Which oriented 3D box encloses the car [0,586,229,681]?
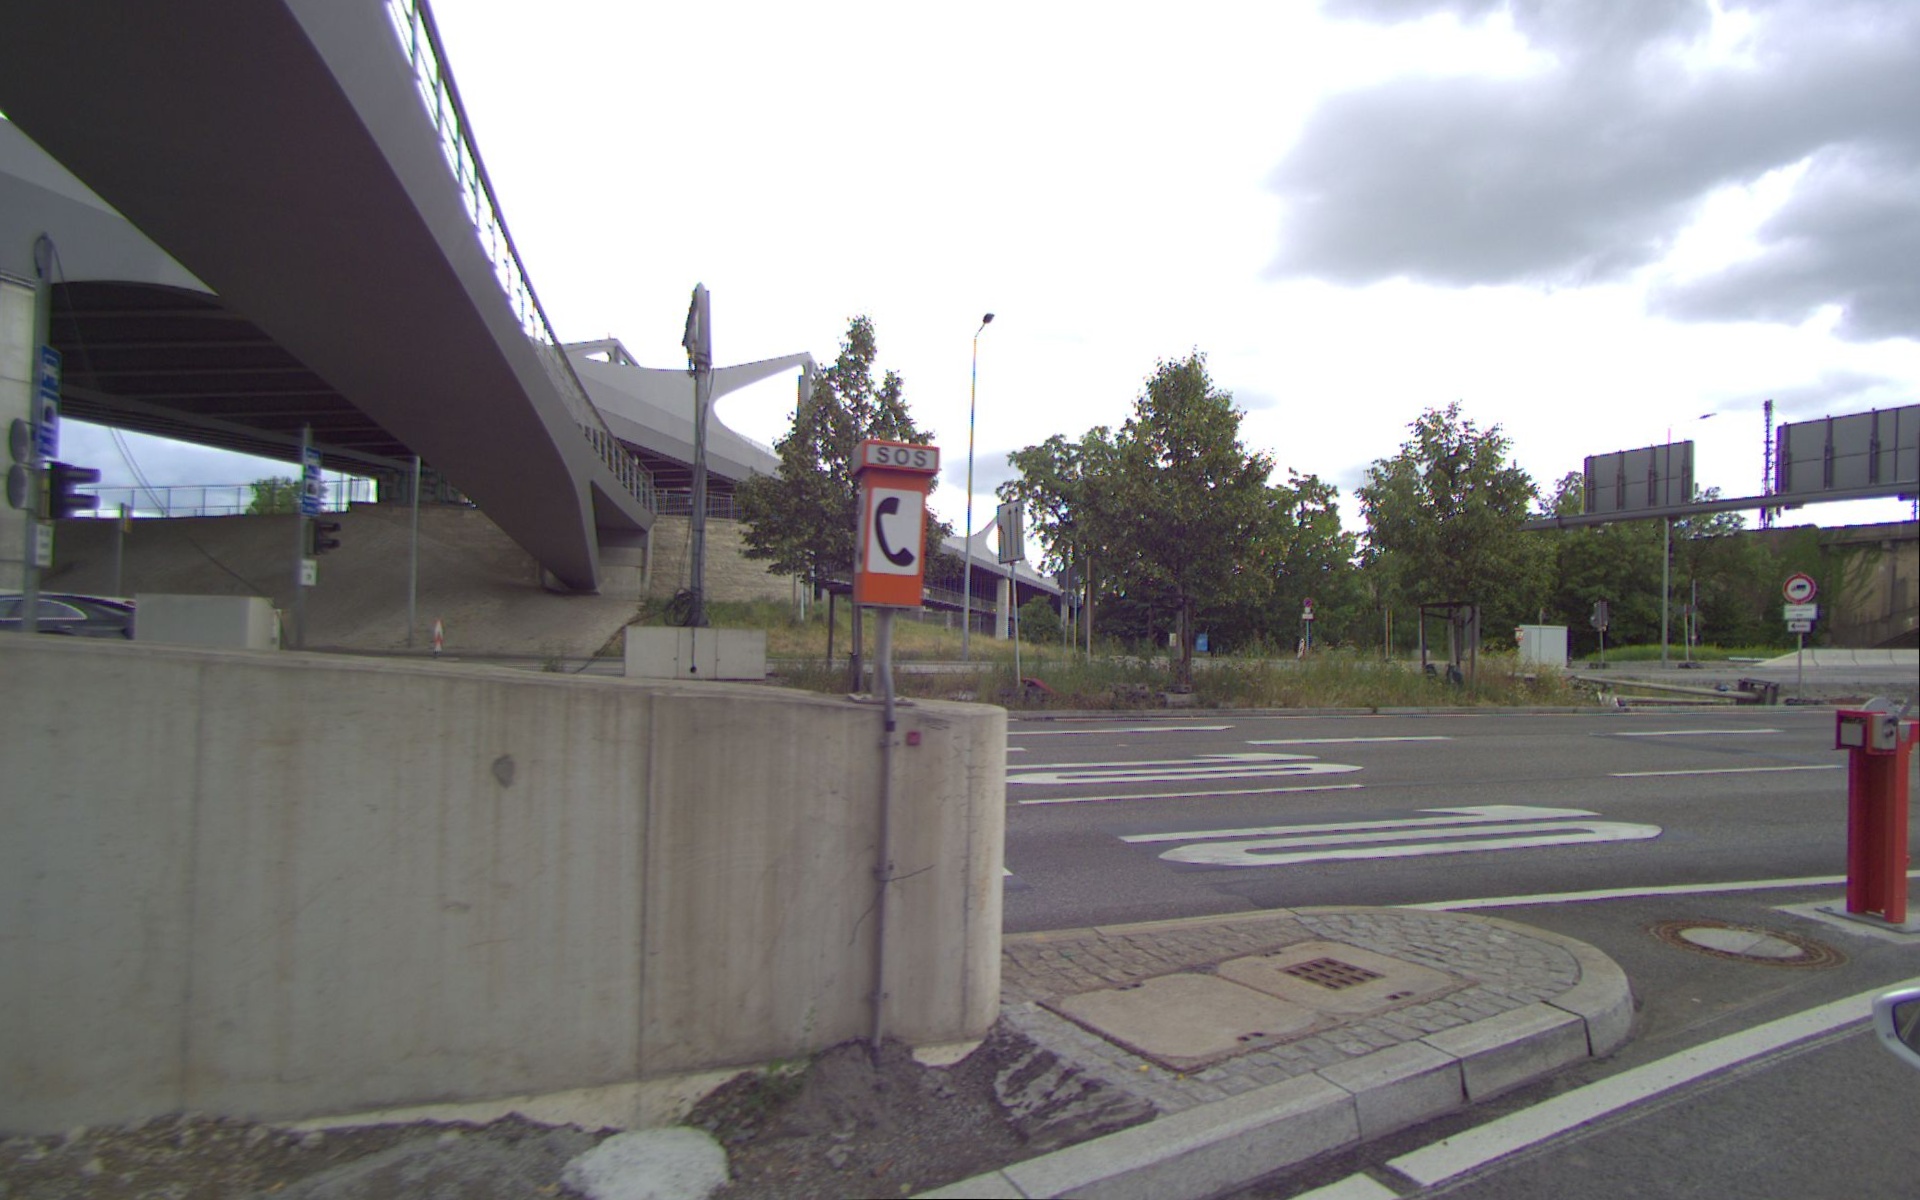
[{"bbox_3d":[-15.200,0.542,16.745,4.549,1.497,1.785,1,-1,-23],"label":"car"}]
